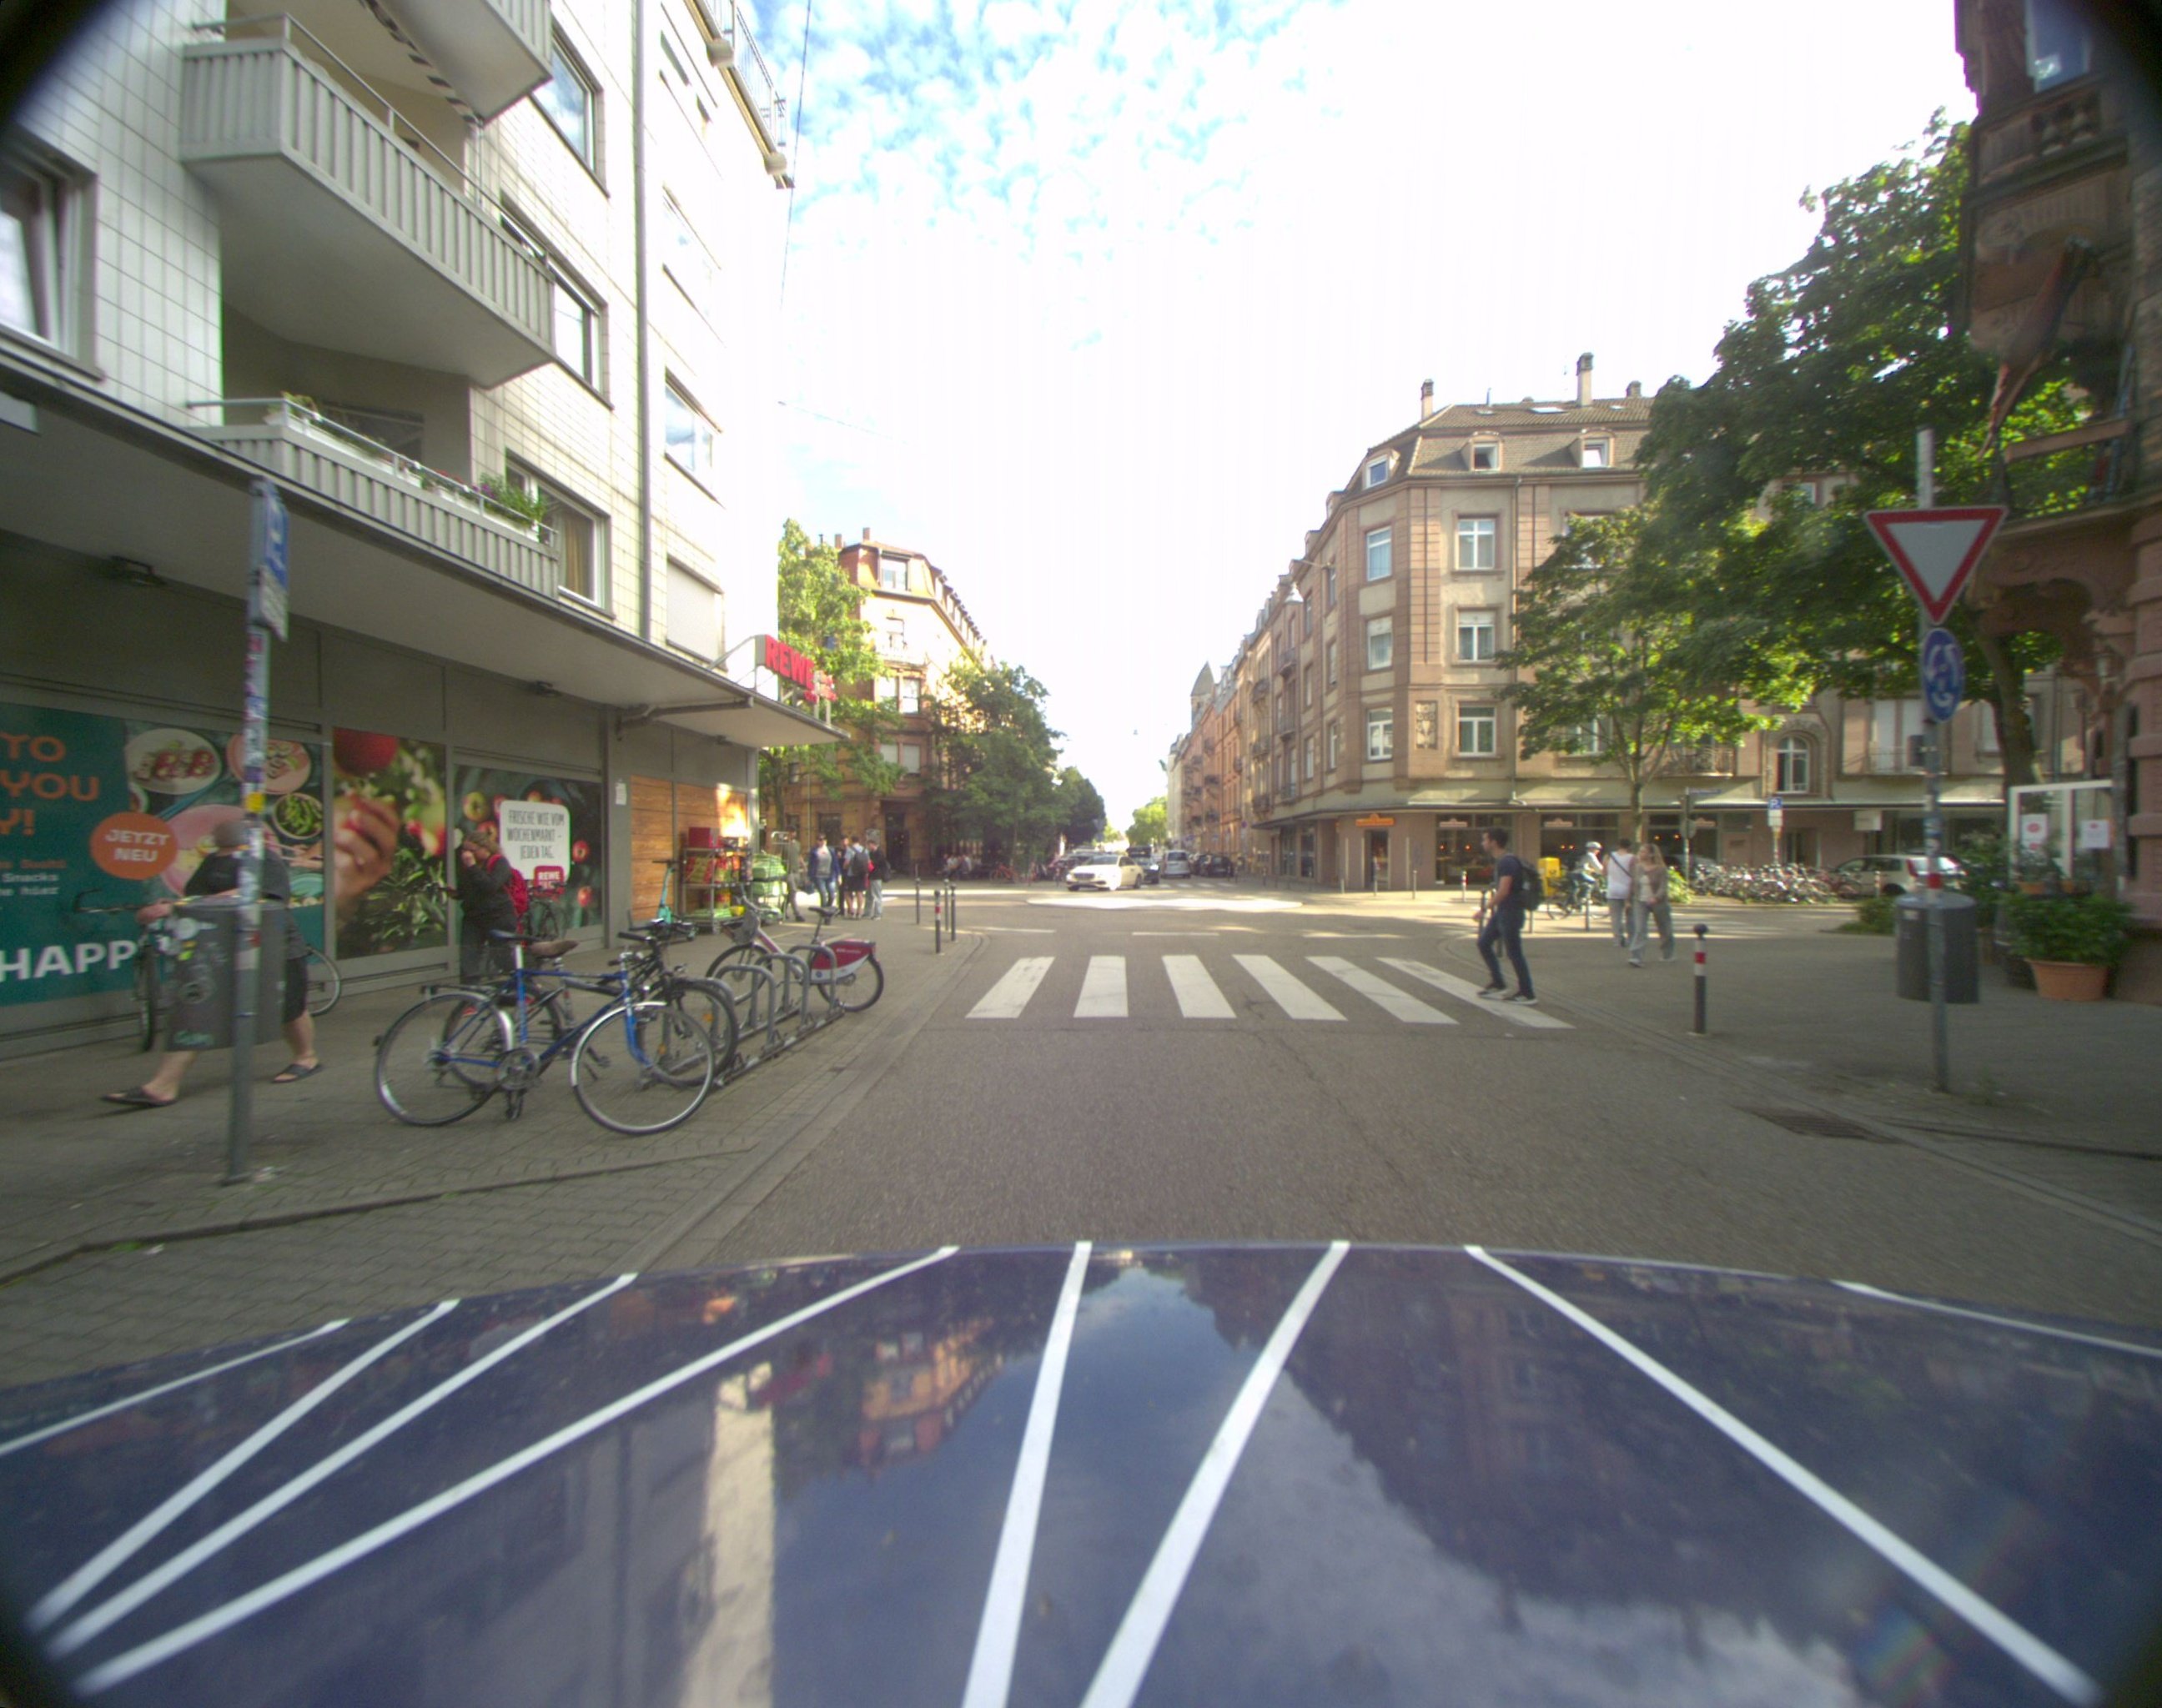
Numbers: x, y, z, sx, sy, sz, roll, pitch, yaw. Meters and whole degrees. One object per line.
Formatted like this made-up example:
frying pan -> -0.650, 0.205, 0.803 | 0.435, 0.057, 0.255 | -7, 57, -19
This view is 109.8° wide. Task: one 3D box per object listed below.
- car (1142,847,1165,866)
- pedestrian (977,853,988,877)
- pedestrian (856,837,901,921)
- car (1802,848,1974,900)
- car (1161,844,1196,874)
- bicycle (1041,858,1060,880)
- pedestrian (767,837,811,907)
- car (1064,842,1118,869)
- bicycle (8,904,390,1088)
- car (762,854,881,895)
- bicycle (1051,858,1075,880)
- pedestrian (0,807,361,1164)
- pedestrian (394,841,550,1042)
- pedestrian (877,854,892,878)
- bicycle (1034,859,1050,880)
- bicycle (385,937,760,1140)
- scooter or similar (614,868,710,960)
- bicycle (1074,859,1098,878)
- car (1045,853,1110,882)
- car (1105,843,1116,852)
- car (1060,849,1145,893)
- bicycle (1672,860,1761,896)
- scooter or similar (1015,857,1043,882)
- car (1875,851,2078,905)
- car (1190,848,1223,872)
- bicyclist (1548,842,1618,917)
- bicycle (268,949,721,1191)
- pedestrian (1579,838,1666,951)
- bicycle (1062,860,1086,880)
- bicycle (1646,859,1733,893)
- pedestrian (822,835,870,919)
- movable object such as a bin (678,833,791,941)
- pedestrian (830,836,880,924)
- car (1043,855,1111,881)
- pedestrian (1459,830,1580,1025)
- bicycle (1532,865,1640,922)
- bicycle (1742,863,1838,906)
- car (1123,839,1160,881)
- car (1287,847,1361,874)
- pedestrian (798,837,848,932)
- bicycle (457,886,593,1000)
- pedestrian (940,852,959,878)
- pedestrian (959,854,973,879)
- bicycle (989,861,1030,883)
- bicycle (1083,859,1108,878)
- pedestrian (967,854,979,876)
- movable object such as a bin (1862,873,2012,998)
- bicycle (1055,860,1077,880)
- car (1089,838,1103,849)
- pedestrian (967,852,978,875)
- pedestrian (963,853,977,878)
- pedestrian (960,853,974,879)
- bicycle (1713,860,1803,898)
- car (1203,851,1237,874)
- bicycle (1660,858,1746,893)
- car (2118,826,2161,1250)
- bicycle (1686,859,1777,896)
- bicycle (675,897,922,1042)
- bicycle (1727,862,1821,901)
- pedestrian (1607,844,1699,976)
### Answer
car -> 6.424, 0.261, 67.822 | 1.998, 1.624, 4.846 | 0, -1, 5
pedestrian -> -5.527, 0.587, 42.580 | 0.467, 1.320, 0.620 | 0, 2, -21
pedestrian -> -4.380, 0.538, 16.431 | 0.716, 1.786, 0.630 | 3, 0, -32
car -> 24.899, 0.574, 23.644 | 1.575, 1.468, 3.700 | -2, 0, 4
car -> 6.292, 0.351, 49.613 | 1.833, 1.780, 4.332 | -3, -1, 2
bicycle -> -1.660, 0.809, 41.127 | 0.476, 1.094, 1.671 | 1, 1, -21
pedestrian -> -7.896, 0.477, 20.512 | 0.888, 1.824, 1.044 | 1, 1, -33
car -> 0.948, 0.166, 72.197 | 4.746, 2.409, 1.995 | -2, 0, -29
bicycle -> -6.423, 0.960, 5.720 | 0.743, 1.009, 1.783 | 2, 1, 3
car -> -10.132, 0.789, 29.814 | 3.995, 1.430, 1.797 | -1, 3, 4
bicycle -> -0.992, 0.788, 40.761 | 0.476, 1.136, 1.834 | 1, 1, -28
pedestrian -> -4.997, 0.647, 4.268 | 0.851, 1.736, 1.049 | 2, 0, 1
pedestrian -> -5.217, 0.714, 6.555 | 0.724, 1.623, 0.712 | 2, 1, 1
pedestrian -> -10.673, 0.667, 41.287 | 0.510, 1.252, 0.643 | 2, 4, 35
bicycle -> -2.117, 0.821, 40.930 | 0.434, 1.094, 1.672 | 2, 1, -17
bicycle -> -2.976, 1.076, 4.593 | 1.793, 1.064, 0.568 | 2, 0, -7
scooter or similar -> -5.958, 0.819, 10.877 | 0.633, 1.206, 1.256 | 2, 0, 1
bicycle -> 0.262, 0.783, 41.560 | 0.473, 0.979, 1.860 | 1, 1, -28
car -> -0.217, 0.823, 46.666 | 3.591, 1.606, 1.510 | 2, 0, -20
car -> 5.928, -1.305, 152.742 | 1.998, 1.877, 4.001 | -2, 0, 5
car -> 0.983, 0.612, 30.936 | 1.940, 1.588, 4.842 | 0, 1, 21
bicycle -> 20.412, 0.765, 24.418 | 2.430, 1.128, 0.479 | 0, 1, 0
scooter or similar -> -2.576, 0.775, 37.889 | 1.289, 1.203, 0.557 | 0, -2, 28
car -> 27.225, 0.680, 23.329 | 1.575, 1.468, 4.075 | -2, 0, 4
car -> 8.990, 0.416, 54.549 | 1.861, 1.575, 4.399 | -2, 1, 3
bicyclist -> 11.390, 0.556, 17.264 | 1.112, 1.668, 0.702 | 0, 2, -8
bicycle -> -2.932, 1.074, 3.952 | 1.793, 1.064, 0.586 | 2, 0, -7
pedestrian -> 8.355, 0.591, 11.767 | 0.802, 1.661, 1.024 | 1, 2, 19
bicycle -> -0.403, 0.853, 41.411 | 0.473, 0.979, 1.860 | 1, 1, -28
bicycle -> 20.417, 0.724, 25.531 | 2.430, 1.128, 0.579 | 0, 1, 0
pedestrian -> -5.148, 0.500, 16.675 | 0.654, 1.786, 0.660 | 3, 0, 16
movable object such as a bin -> -5.995, 0.518, 13.327 | 0.781, 1.734, 2.423 | 0, 1, 2
pedestrian -> -4.728, 0.539, 15.899 | 0.712, 1.786, 0.634 | 3, 0, 36
car -> -0.237, 0.823, 44.303 | 3.592, 1.372, 1.510 | 2, 0, -22
pedestrian -> 4.361, 0.688, 7.633 | 0.855, 1.830, 0.679 | 2, 3, 18
bicycle -> 11.478, 0.885, 17.286 | 2.117, 1.213, 0.702 | 0, 2, -9
bicycle -> 20.464, 0.869, 21.948 | 2.292, 1.217, 0.479 | 0, 1, 0
car -> 3.161, 0.299, 39.074 | 1.791, 2.051, 4.002 | 0, 0, 6
car -> 15.482, 0.418, 48.531 | 3.999, 1.611, 1.999 | -2, 0, -6
pedestrian -> -4.930, 0.560, 14.563 | 0.766, 1.743, 0.929 | 0, 1, -11
bicycle -> -6.207, 0.936, 8.597 | 0.678, 1.037, 1.731 | 0, 2, -16
pedestrian -> -6.850, 0.567, 39.673 | 0.715, 1.371, 0.671 | 1, 2, 38
pedestrian -> -5.926, 0.645, 39.146 | 0.729, 1.307, 0.520 | -1, 0, -9
bicycle -> -3.399, 0.837, 36.172 | 1.855, 1.029, 0.684 | 0, 1, 2
bicycle -> 0.771, 0.769, 41.564 | 0.473, 0.979, 1.860 | 1, 1, -28
pedestrian -> -5.968, 0.600, 41.960 | 0.549, 1.225, 0.620 | 0, 2, -21
movable object such as a bin -> 5.268, 0.486, 4.694 | 0.384, 0.710, 0.476 | -2, 0, -1
bicycle -> -0.823, 0.865, 41.189 | 0.418, 0.979, 1.834 | 1, 1, -28
car -> 2.355, -1.625, 117.896 | 1.850, 1.724, 3.999 | -2, 0, -2
pedestrian -> -6.116, 0.530, 42.838 | 0.467, 1.320, 0.620 | 0, 2, -21
pedestrian -> -5.883, 0.632, 40.327 | 0.729, 1.307, 0.607 | -1, 0, -9
pedestrian -> -5.963, 0.630, 39.662 | 0.729, 1.307, 0.520 | -1, 0, -9
bicycle -> 20.469, 0.750, 22.985 | 2.262, 1.128, 0.479 | 0, 1, 0
car -> 8.973, 0.512, 49.274 | 1.723, 1.360, 3.830 | -2, 0, 3
bicycle -> 20.414, 0.703, 24.956 | 2.430, 1.128, 0.479 | 0, 1, 0
car -> 5.287, 0.741, 1.040 | 1.764, 1.763, 4.406 | -2, 0, 2
bicycle -> 20.436, 0.734, 23.897 | 2.430, 1.128, 0.479 | 0, 1, 0
bicycle -> -2.526, 1.021, 6.980 | 1.887, 1.119, 0.907 | 2, 1, 1
bicycle -> 20.461, 0.807, 22.452 | 2.290, 1.151, 0.479 | 0, 1, 0
pedestrian -> 7.186, 0.681, 9.551 | 0.811, 1.568, 0.614 | -2, -1, -34
